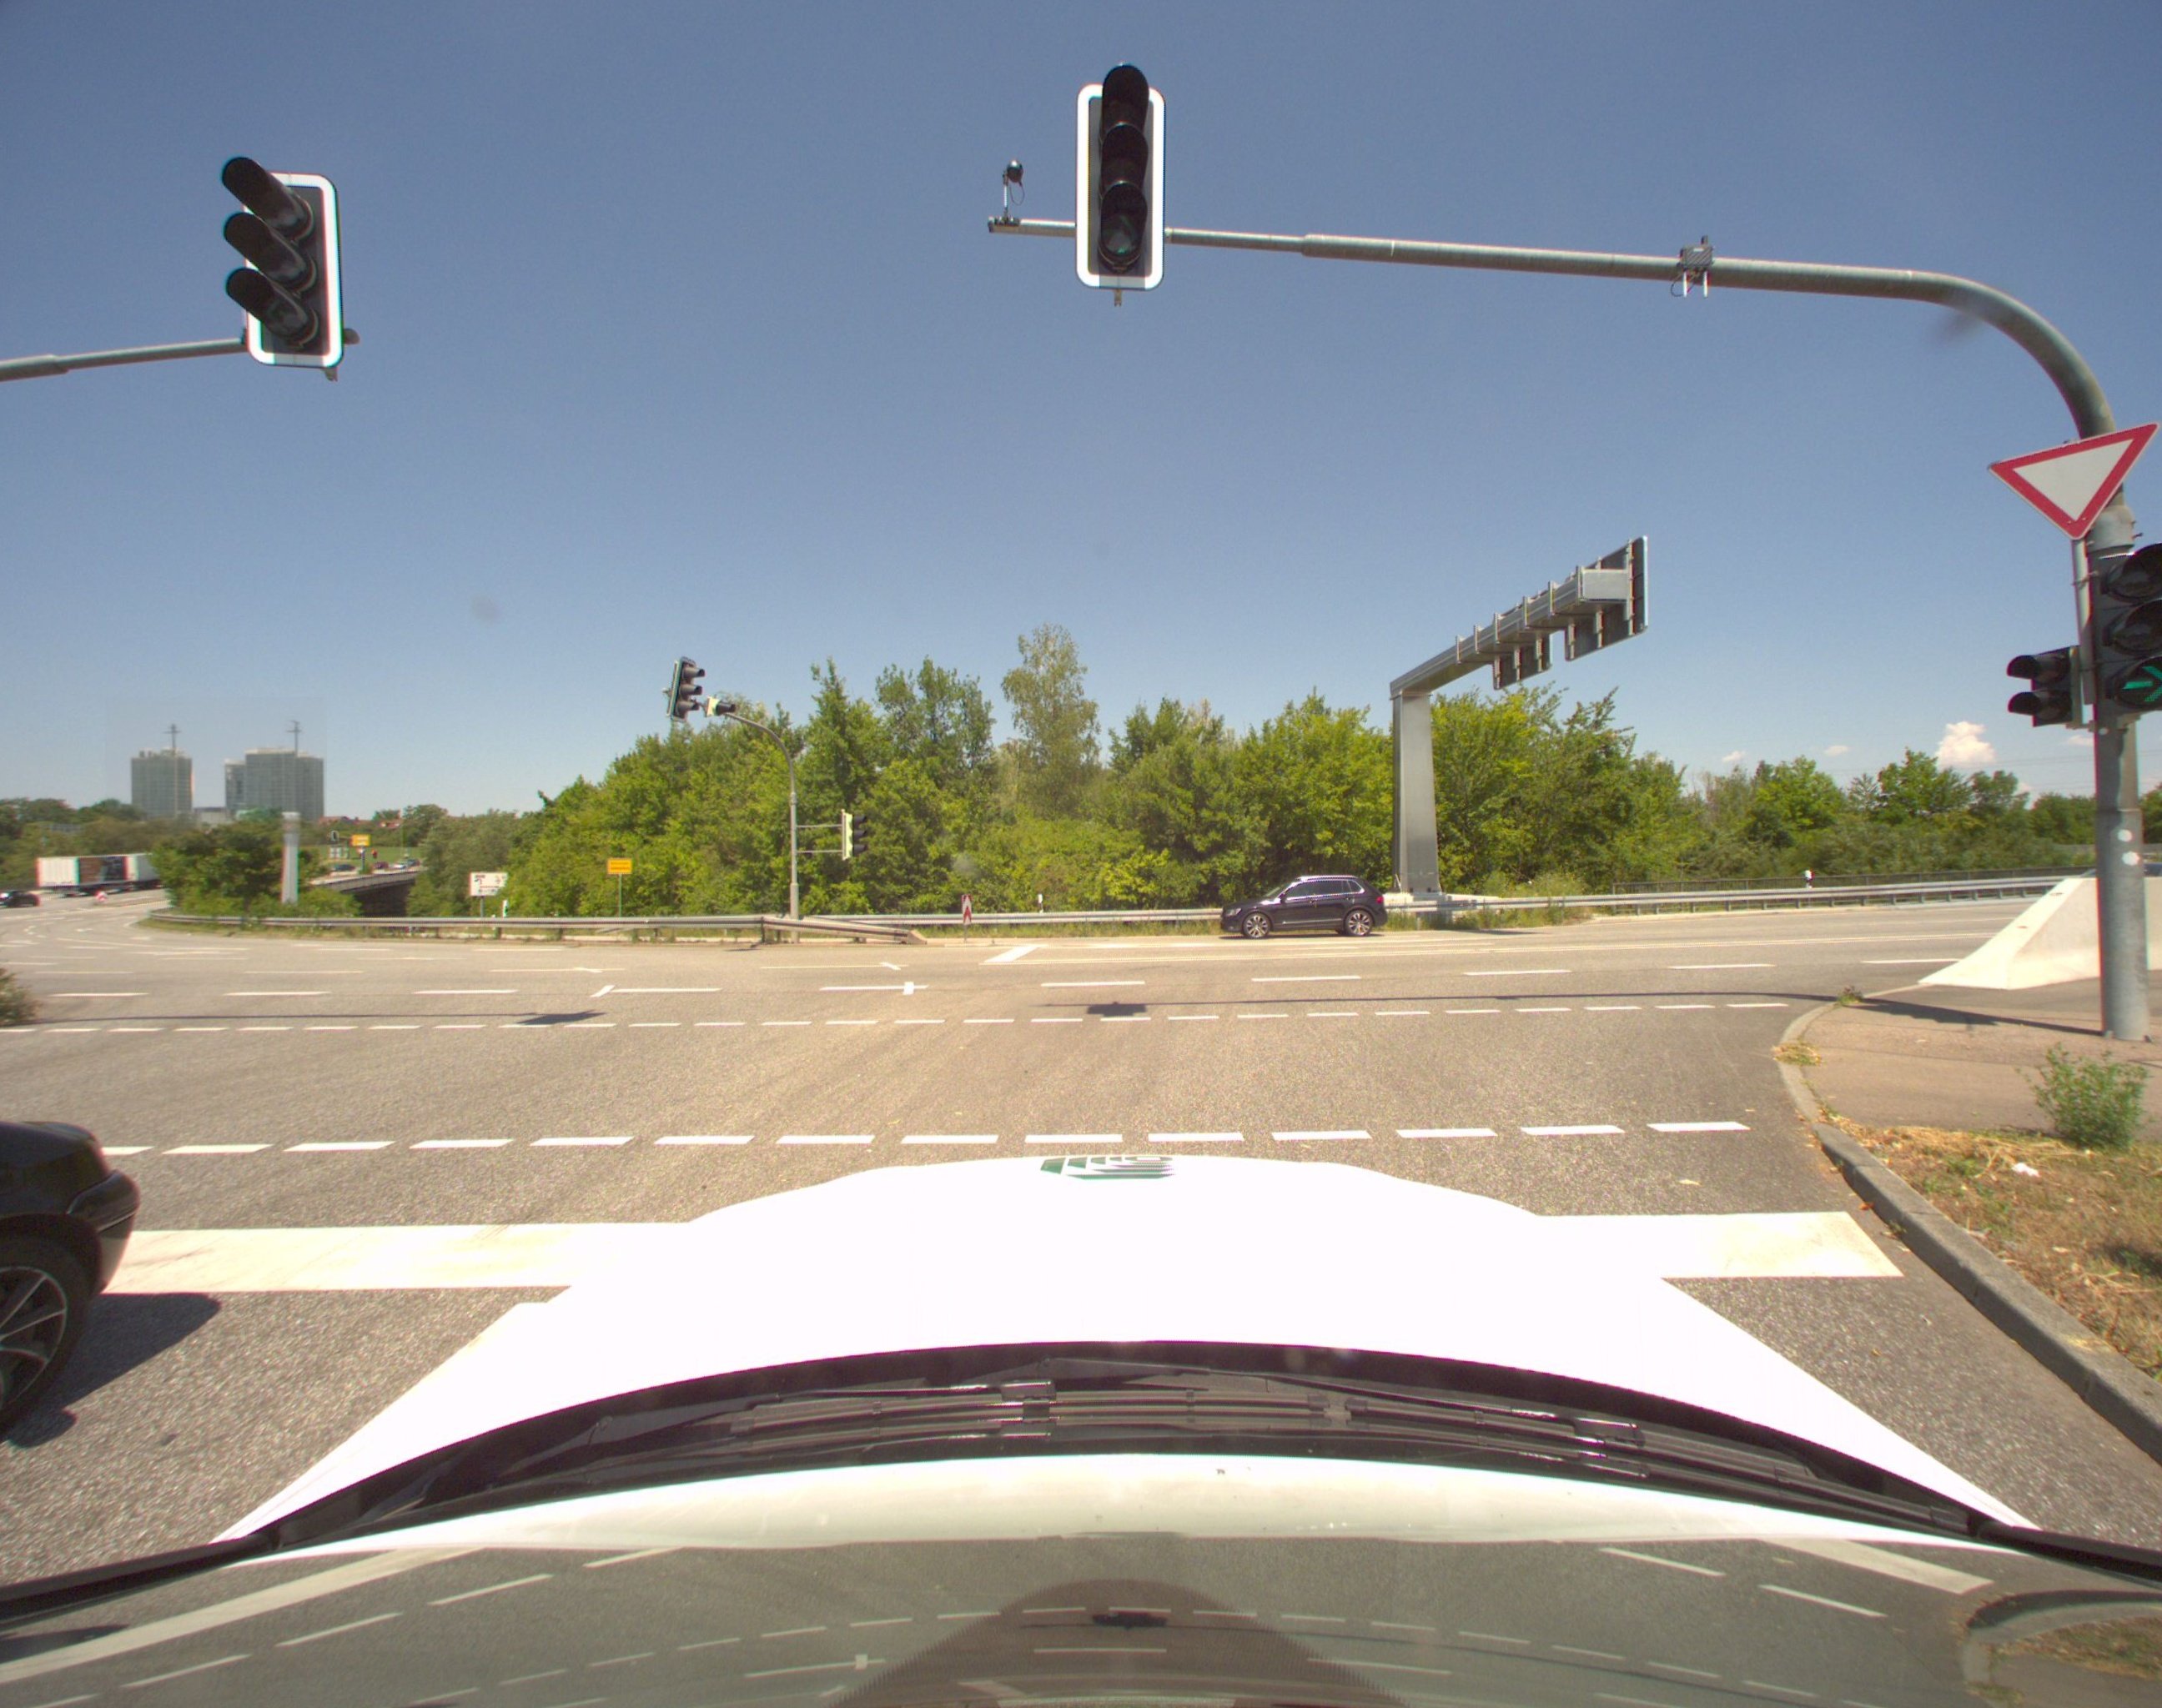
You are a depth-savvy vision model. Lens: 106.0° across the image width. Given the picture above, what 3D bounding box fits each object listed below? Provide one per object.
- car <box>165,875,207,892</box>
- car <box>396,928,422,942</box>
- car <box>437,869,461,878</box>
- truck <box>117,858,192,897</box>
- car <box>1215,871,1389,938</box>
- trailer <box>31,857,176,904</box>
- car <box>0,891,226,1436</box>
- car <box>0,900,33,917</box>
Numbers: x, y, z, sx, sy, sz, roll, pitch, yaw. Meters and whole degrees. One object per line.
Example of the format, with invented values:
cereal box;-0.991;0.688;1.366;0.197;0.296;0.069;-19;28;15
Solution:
car;-101.044;3.295;92.004;1.890;1.732;3.964;0;0;-28
car;-77.745;9.324;94.159;4.358;1.434;1.822;-4;-5;44
car;-120.009;3.614;154.627;1.995;1.632;3.982;-1;0;-13
truck;-104.633;2.564;92.082;3.246;4.248;6.188;0;0;-24
car;5.935;1.392;22.315;4.244;1.632;1.906;-2;-4;3
trailer;-101.519;2.562;85.167;3.246;4.248;15.285;0;0;-24
car;-3.613;0.825;1.038;1.615;1.407;3.297;-1;-1;-2
car;-89.427;4.522;67.661;1.819;1.434;3.884;2;-4;-37
